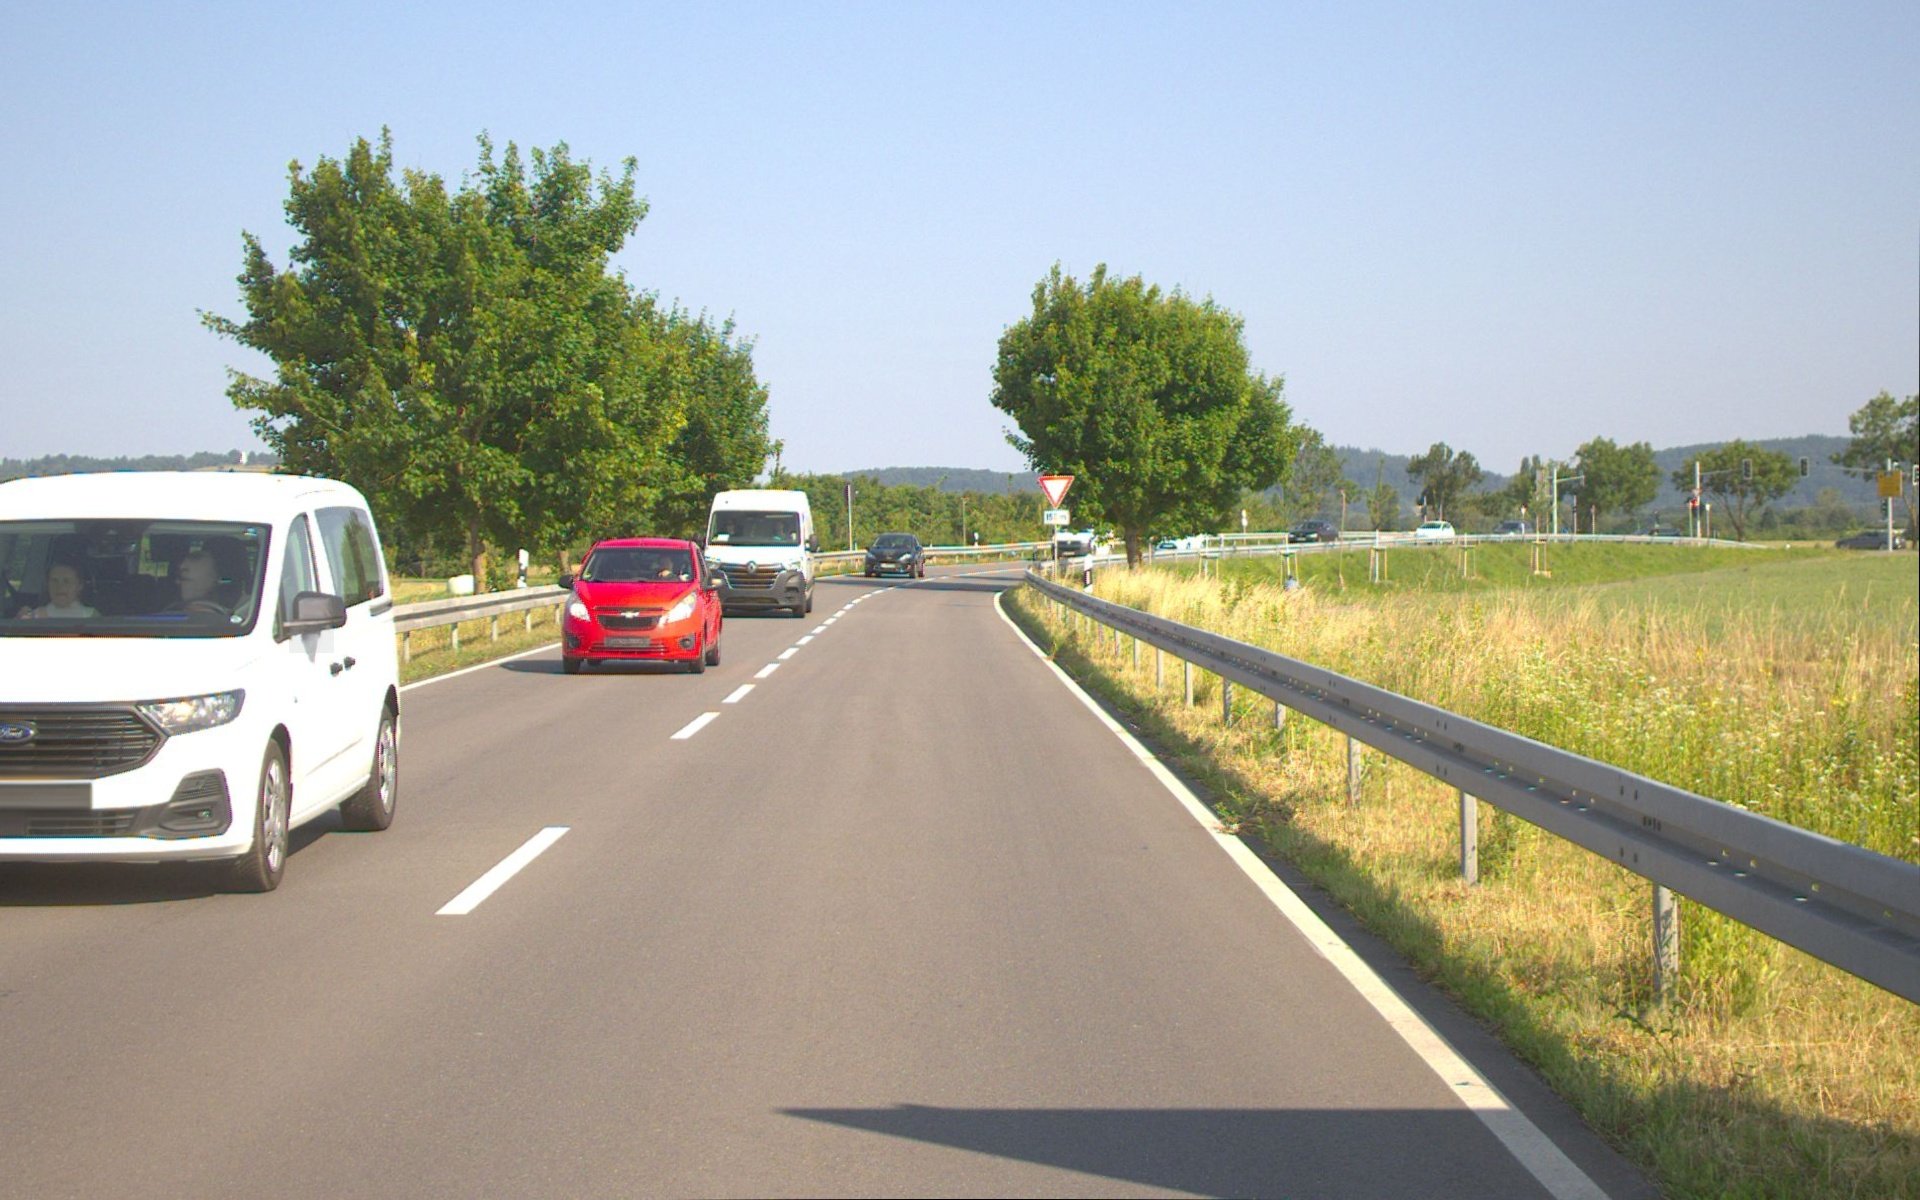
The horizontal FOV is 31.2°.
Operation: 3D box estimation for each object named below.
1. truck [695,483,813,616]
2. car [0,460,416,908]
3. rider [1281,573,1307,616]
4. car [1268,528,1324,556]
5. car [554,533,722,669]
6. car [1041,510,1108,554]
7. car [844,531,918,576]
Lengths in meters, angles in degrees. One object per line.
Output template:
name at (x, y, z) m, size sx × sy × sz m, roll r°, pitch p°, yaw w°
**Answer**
truck at (-4.002, -1.007, 67.791) m, size 1.993 × 2.511 × 6.244 m, roll 0°, pitch 1°, yaw 0°
car at (-3.797, 0.291, 15.899) m, size 1.836 × 1.780 × 4.434 m, roll 0°, pitch 1°, yaw 0°
rider at (12.009, -0.204, 123.609) m, size 0.609 × 1.522 × 1.824 m, roll 1°, pitch 0°, yaw 15°
car at (18.774, -3.217, 191.851) m, size 1.995 × 1.527 × 4.587 m, roll 1°, pitch 1°, yaw 20°
car at (-3.655, -0.024, 39.531) m, size 1.606 × 1.483 × 3.780 m, roll 0°, pitch 1°, yaw 0°
car at (5.103, -2.997, 152.443) m, size 1.995 × 1.878 × 4.588 m, roll 1°, pitch 1°, yaw 15°
car at (-2.594, -1.549, 113.896) m, size 1.645 × 1.466 × 3.805 m, roll 1°, pitch 1°, yaw 11°
